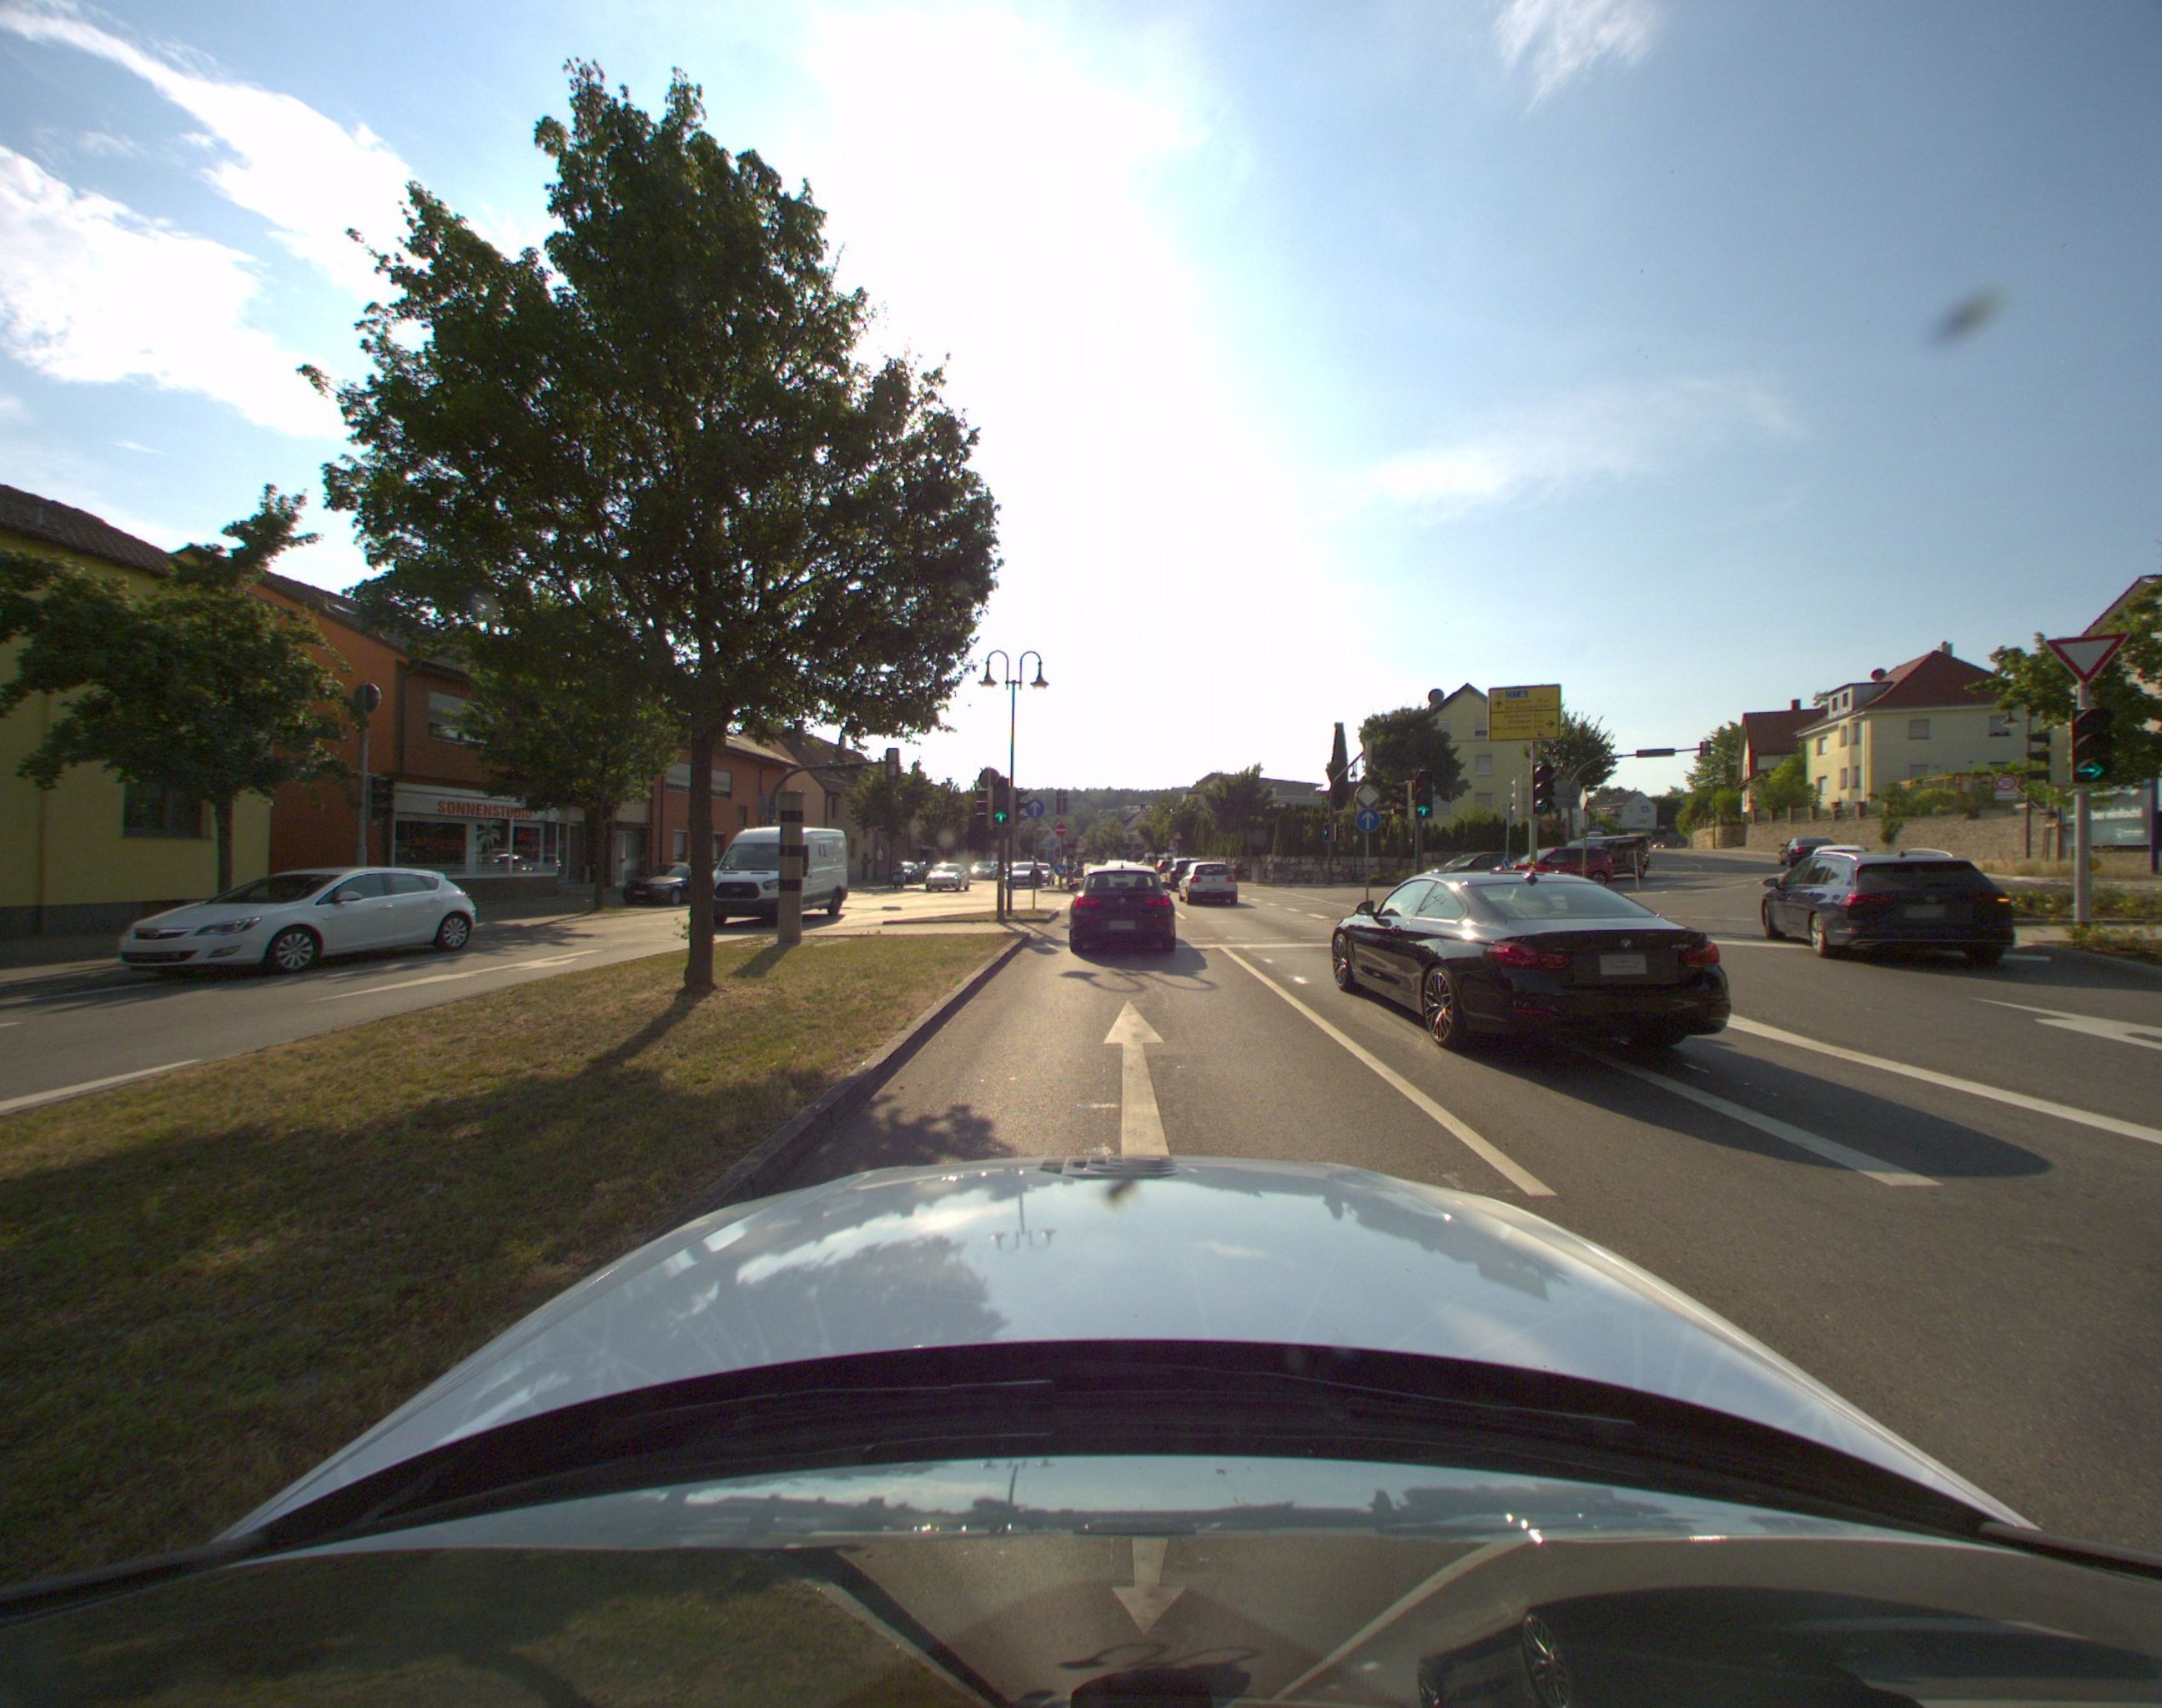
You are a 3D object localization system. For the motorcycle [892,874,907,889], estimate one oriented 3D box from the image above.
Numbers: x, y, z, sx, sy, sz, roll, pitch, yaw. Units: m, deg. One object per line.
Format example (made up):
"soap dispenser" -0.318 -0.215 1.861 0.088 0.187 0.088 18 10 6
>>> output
"motorcycle" -10.731 1.613 48.209 0.410 0.860 1.764 0 0 3

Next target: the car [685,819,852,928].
"car" -7.920 0.444 21.348 2.076 2.475 5.482 0 0 2

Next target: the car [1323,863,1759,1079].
"car" 3.688 0.800 7.541 1.693 1.369 4.263 -1 0 1

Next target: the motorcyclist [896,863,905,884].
"motorcyclist" -10.734 1.137 48.351 0.401 1.229 0.462 0 0 3

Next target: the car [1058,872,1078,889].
"car" -1.205 2.475 76.773 1.526 1.462 3.509 0 0 3

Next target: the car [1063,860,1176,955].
"car" 0.657 0.850 14.482 1.765 1.456 3.517 0 0 2

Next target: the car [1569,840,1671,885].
"car" 24.936 0.358 37.636 5.197 1.932 1.980 0 0 -32

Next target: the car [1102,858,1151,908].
"car" 1.617 0.954 28.346 1.584 1.600 3.897 0 0 4

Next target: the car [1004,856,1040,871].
"car" -10.409 1.687 144.052 6.138 2.445 2.249 1 0 0

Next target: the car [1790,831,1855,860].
"car" 35.407 -0.383 38.981 1.794 1.344 4.025 -1 0 35

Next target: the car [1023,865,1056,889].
"car" -2.612 1.434 52.320 1.582 1.427 3.582 -3 -1 4

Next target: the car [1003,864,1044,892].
"car" -3.239 1.338 46.510 1.828 1.488 4.568 0 0 2

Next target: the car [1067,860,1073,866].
"car" -3.026 2.373 222.091 1.592 1.485 3.473 1 0 -1

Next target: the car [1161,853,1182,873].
"car" 12.621 1.219 113.799 2.105 2.722 6.439 0 0 -1

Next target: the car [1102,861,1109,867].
"car" 6.353 2.665 208.599 1.592 1.485 3.473 1 0 -1

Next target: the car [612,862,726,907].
"car" -14.364 1.022 28.652 1.788 1.414 3.945 -1 0 3

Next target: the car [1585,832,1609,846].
"car" 52.616 -1.525 83.006 1.794 1.344 4.025 -1 0 35

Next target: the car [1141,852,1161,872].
"car" 9.762 1.095 113.454 2.143 2.680 6.600 0 0 -1

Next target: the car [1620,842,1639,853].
"car" 67.165 -0.752 99.701 1.794 1.344 4.025 -1 0 35

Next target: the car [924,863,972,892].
"car" -6.932 1.183 42.850 1.751 1.411 4.001 0 0 2

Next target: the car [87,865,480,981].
"car" -11.661 0.911 12.415 1.684 1.414 4.218 0 0 3

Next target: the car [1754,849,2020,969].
"car" 11.350 0.650 11.847 1.614 1.410 4.304 -1 0 29

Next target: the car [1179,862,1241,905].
"car" 4.490 0.999 28.788 1.747 1.414 3.423 0 0 2

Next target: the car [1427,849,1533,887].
"car" 16.863 0.605 34.532 3.761 1.542 1.604 -1 0 12

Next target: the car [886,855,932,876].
"car" -16.042 1.054 76.063 3.804 1.881 1.781 2 -1 3

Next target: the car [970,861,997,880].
"car" -8.660 1.475 72.691 1.679 1.612 4.415 0 -1 2

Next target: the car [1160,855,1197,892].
"car" 4.805 0.934 40.434 1.596 1.767 3.413 0 0 3

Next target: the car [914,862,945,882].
"car" -11.904 1.390 64.265 1.613 1.510 4.133 0 0 1

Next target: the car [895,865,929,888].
"car" -12.066 1.584 58.342 1.506 1.510 3.886 1 0 1

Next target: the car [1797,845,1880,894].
"car" 24.796 0.466 26.625 1.844 1.494 4.024 -1 0 44

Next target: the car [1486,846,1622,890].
"car" 18.160 0.511 31.374 4.230 1.626 1.859 0 0 -4
